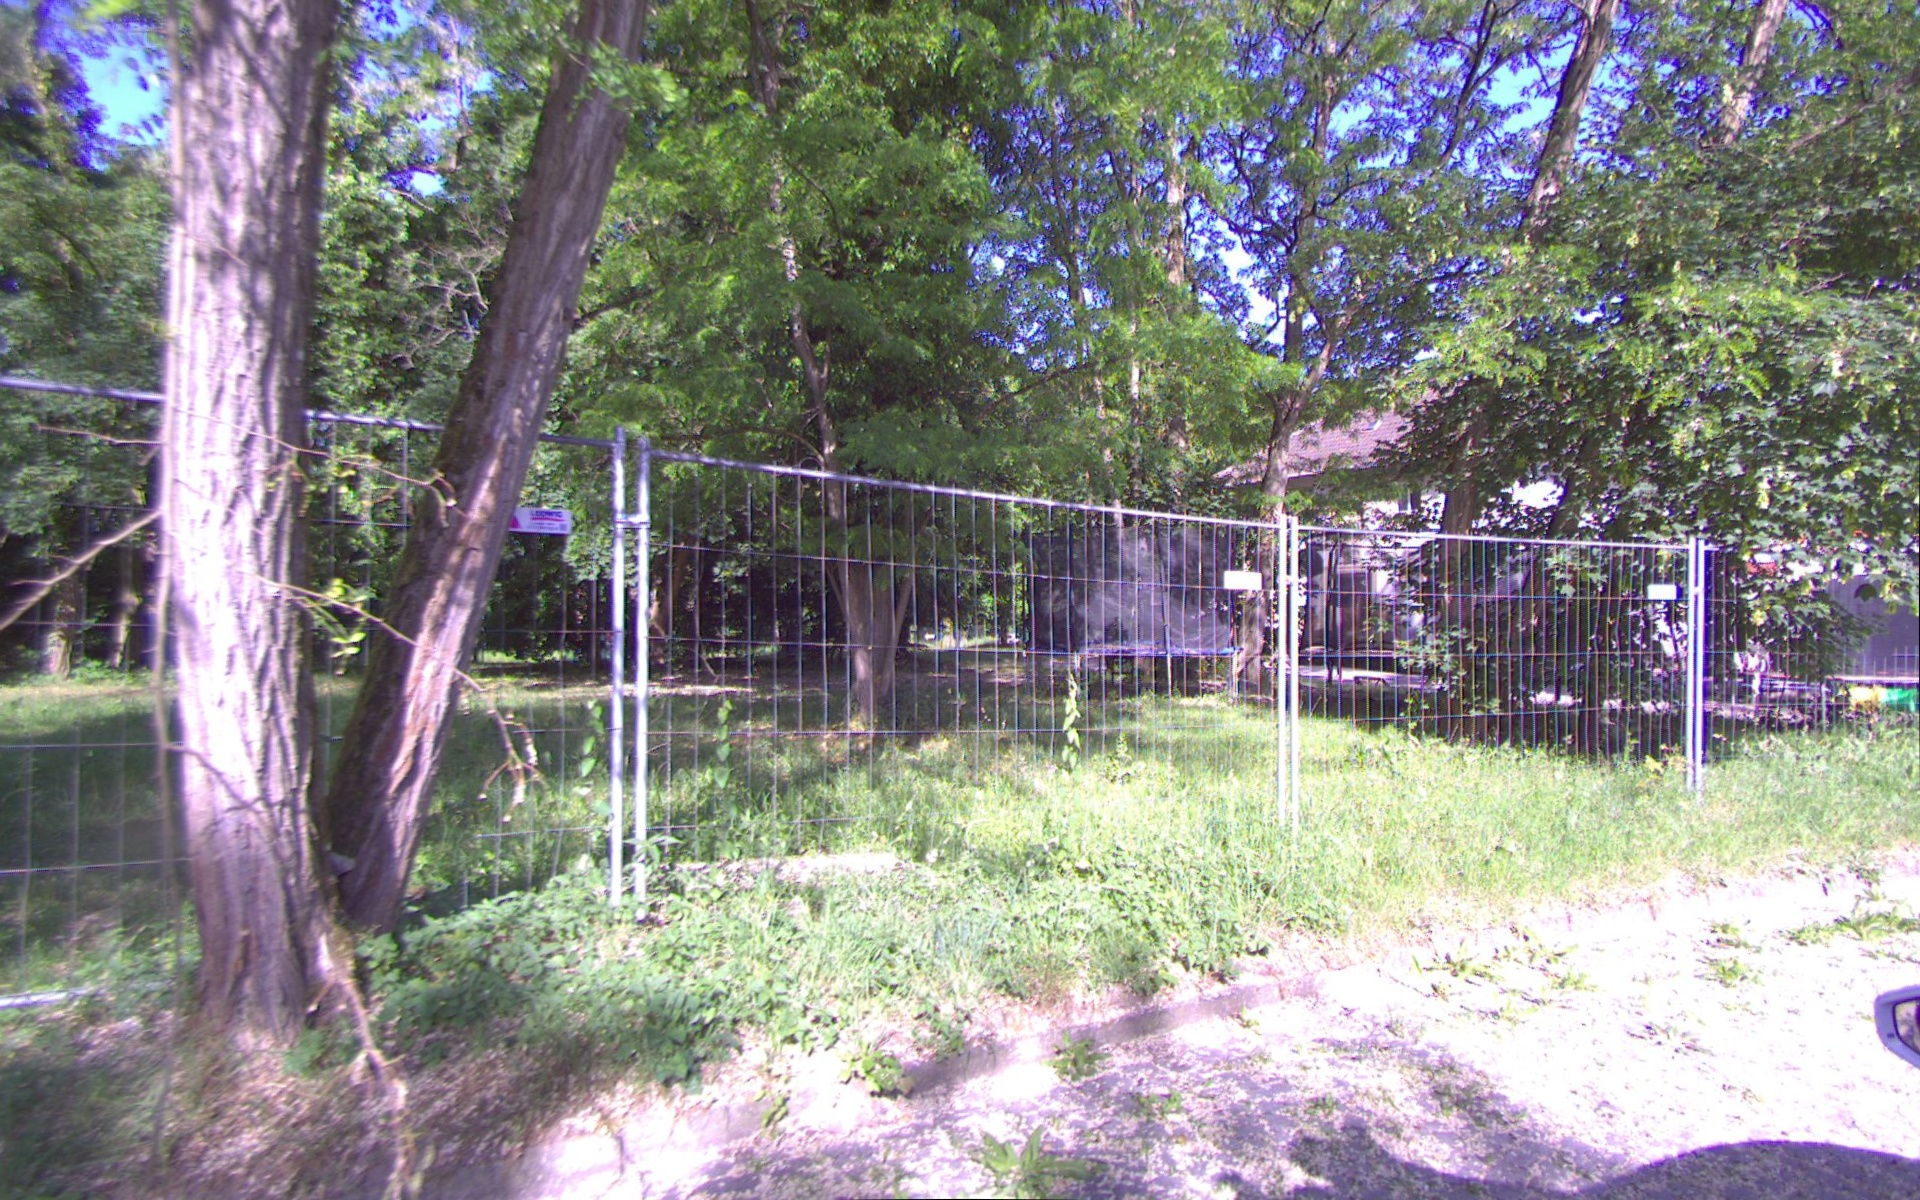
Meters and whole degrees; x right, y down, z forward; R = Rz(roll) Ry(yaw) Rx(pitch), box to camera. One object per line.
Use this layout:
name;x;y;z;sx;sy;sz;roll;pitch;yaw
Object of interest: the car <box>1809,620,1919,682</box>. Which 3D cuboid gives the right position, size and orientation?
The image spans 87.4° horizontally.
car;30.145;1.615;31.840;1.984;1.927;4.672;3;-3;-39
